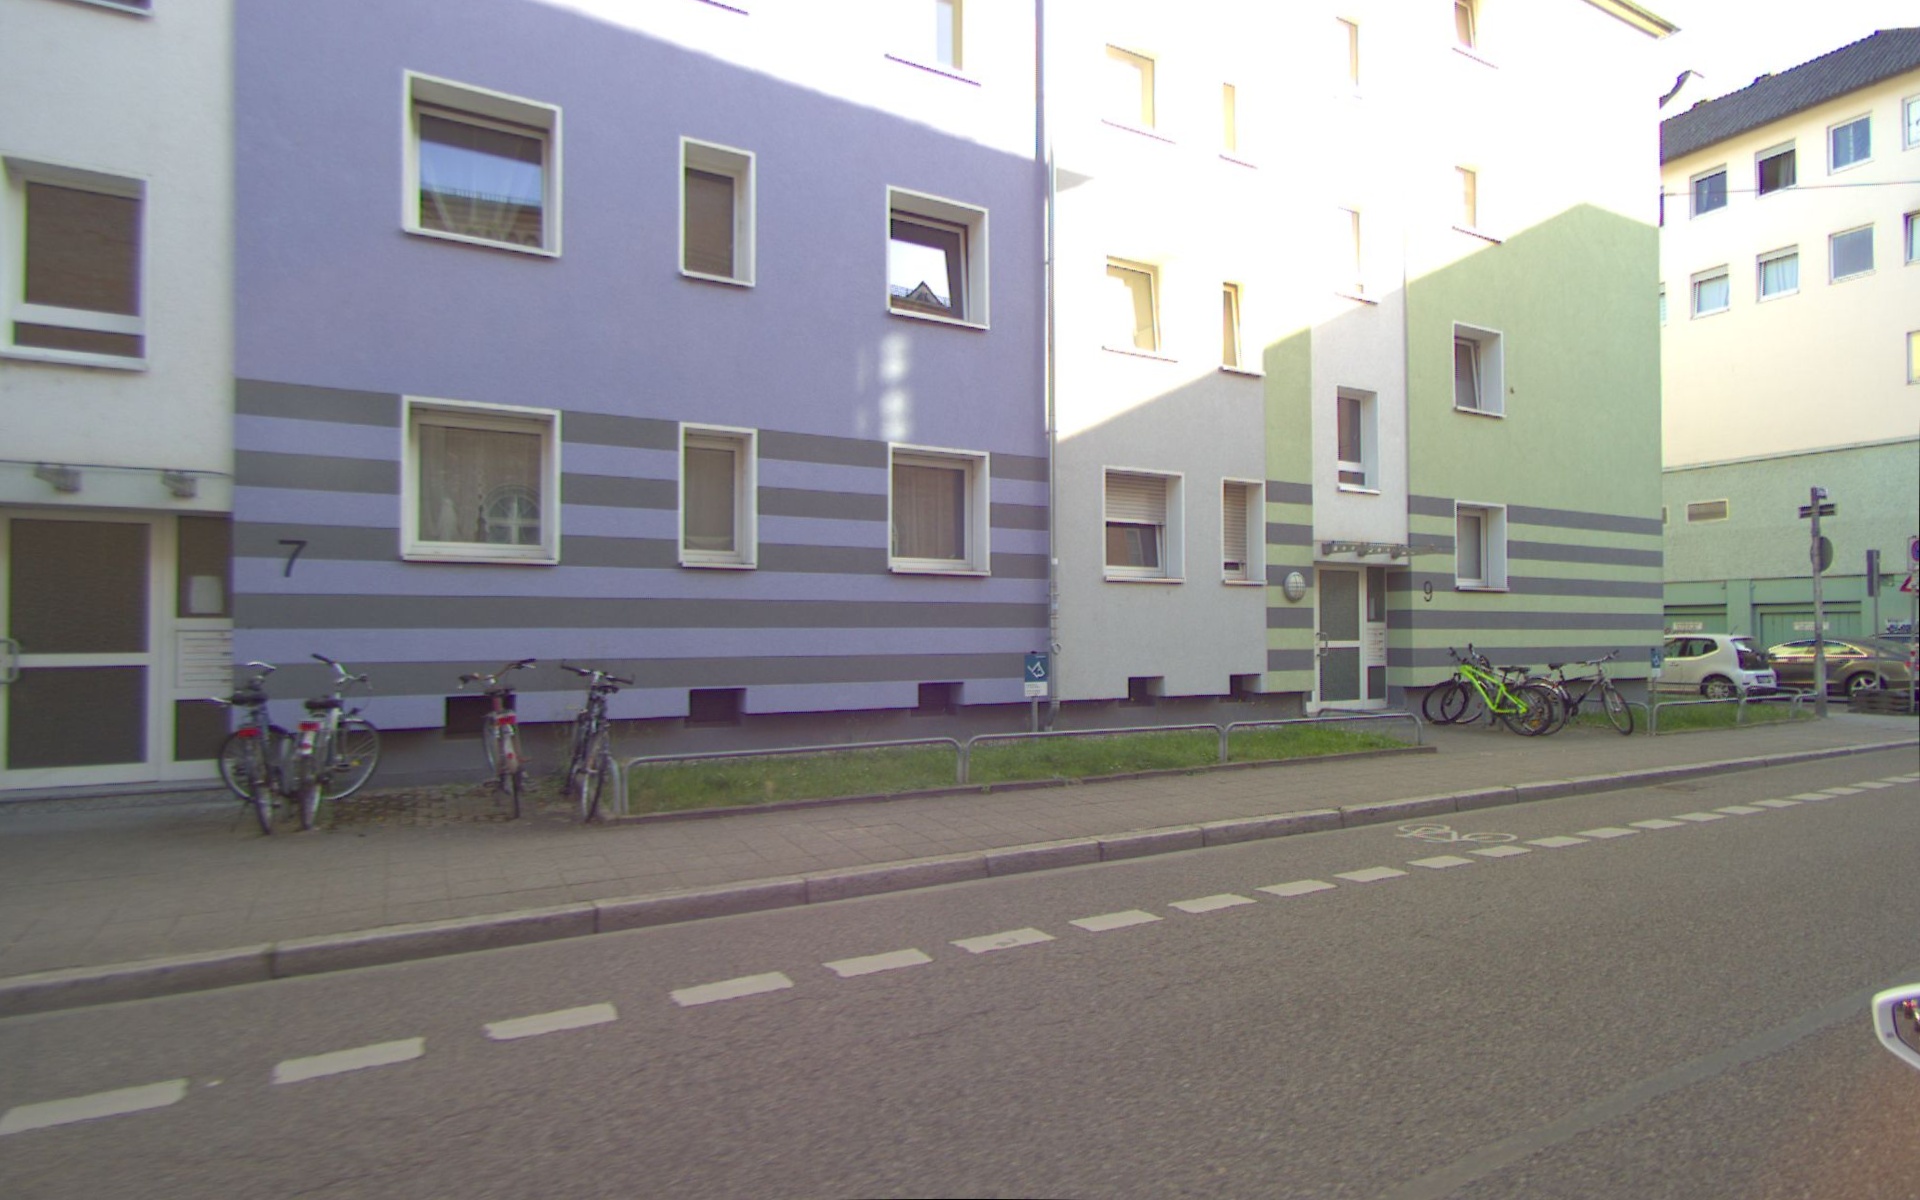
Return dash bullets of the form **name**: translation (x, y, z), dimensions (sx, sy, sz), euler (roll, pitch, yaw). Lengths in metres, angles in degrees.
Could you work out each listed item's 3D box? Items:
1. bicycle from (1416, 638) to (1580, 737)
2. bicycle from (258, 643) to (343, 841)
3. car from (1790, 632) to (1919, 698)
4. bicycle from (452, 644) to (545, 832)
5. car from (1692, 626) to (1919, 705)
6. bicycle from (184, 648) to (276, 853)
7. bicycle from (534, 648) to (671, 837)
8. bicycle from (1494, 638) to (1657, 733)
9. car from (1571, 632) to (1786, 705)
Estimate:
- **bicycle**: translation (7.524, 1.188, 14.126), dimensions (0.609, 1.195, 1.909), euler (1, 1, -44)
- **bicycle**: translation (-4.768, 0.956, 7.314), dimensions (0.444, 1.258, 1.576), euler (1, -2, -31)
- **car**: translation (22.163, 1.482, 23.286), dimensions (1.923, 1.462, 4.083), euler (0, -2, -27)
- **bicycle**: translation (-3.566, 0.982, 7.702), dimensions (0.462, 1.258, 1.630), euler (1, -2, -31)
- **car**: translation (19.146, 1.369, 22.070), dimensions (1.971, 1.562, 4.606), euler (1, -2, -22)
- **bicycle**: translation (-5.119, 0.980, 7.095), dimensions (0.380, 1.258, 1.571), euler (1, -2, -31)
- **bicycle**: translation (-2.850, 1.018, 7.877), dimensions (0.616, 1.247, 1.998), euler (1, -2, -31)
- **bicycle**: translation (8.910, 1.205, 14.616), dimensions (0.608, 1.195, 1.914), euler (1, 1, -38)
- **car**: translation (15.983, 1.478, 22.517), dimensions (1.790, 1.462, 3.488), euler (0, -2, -27)
